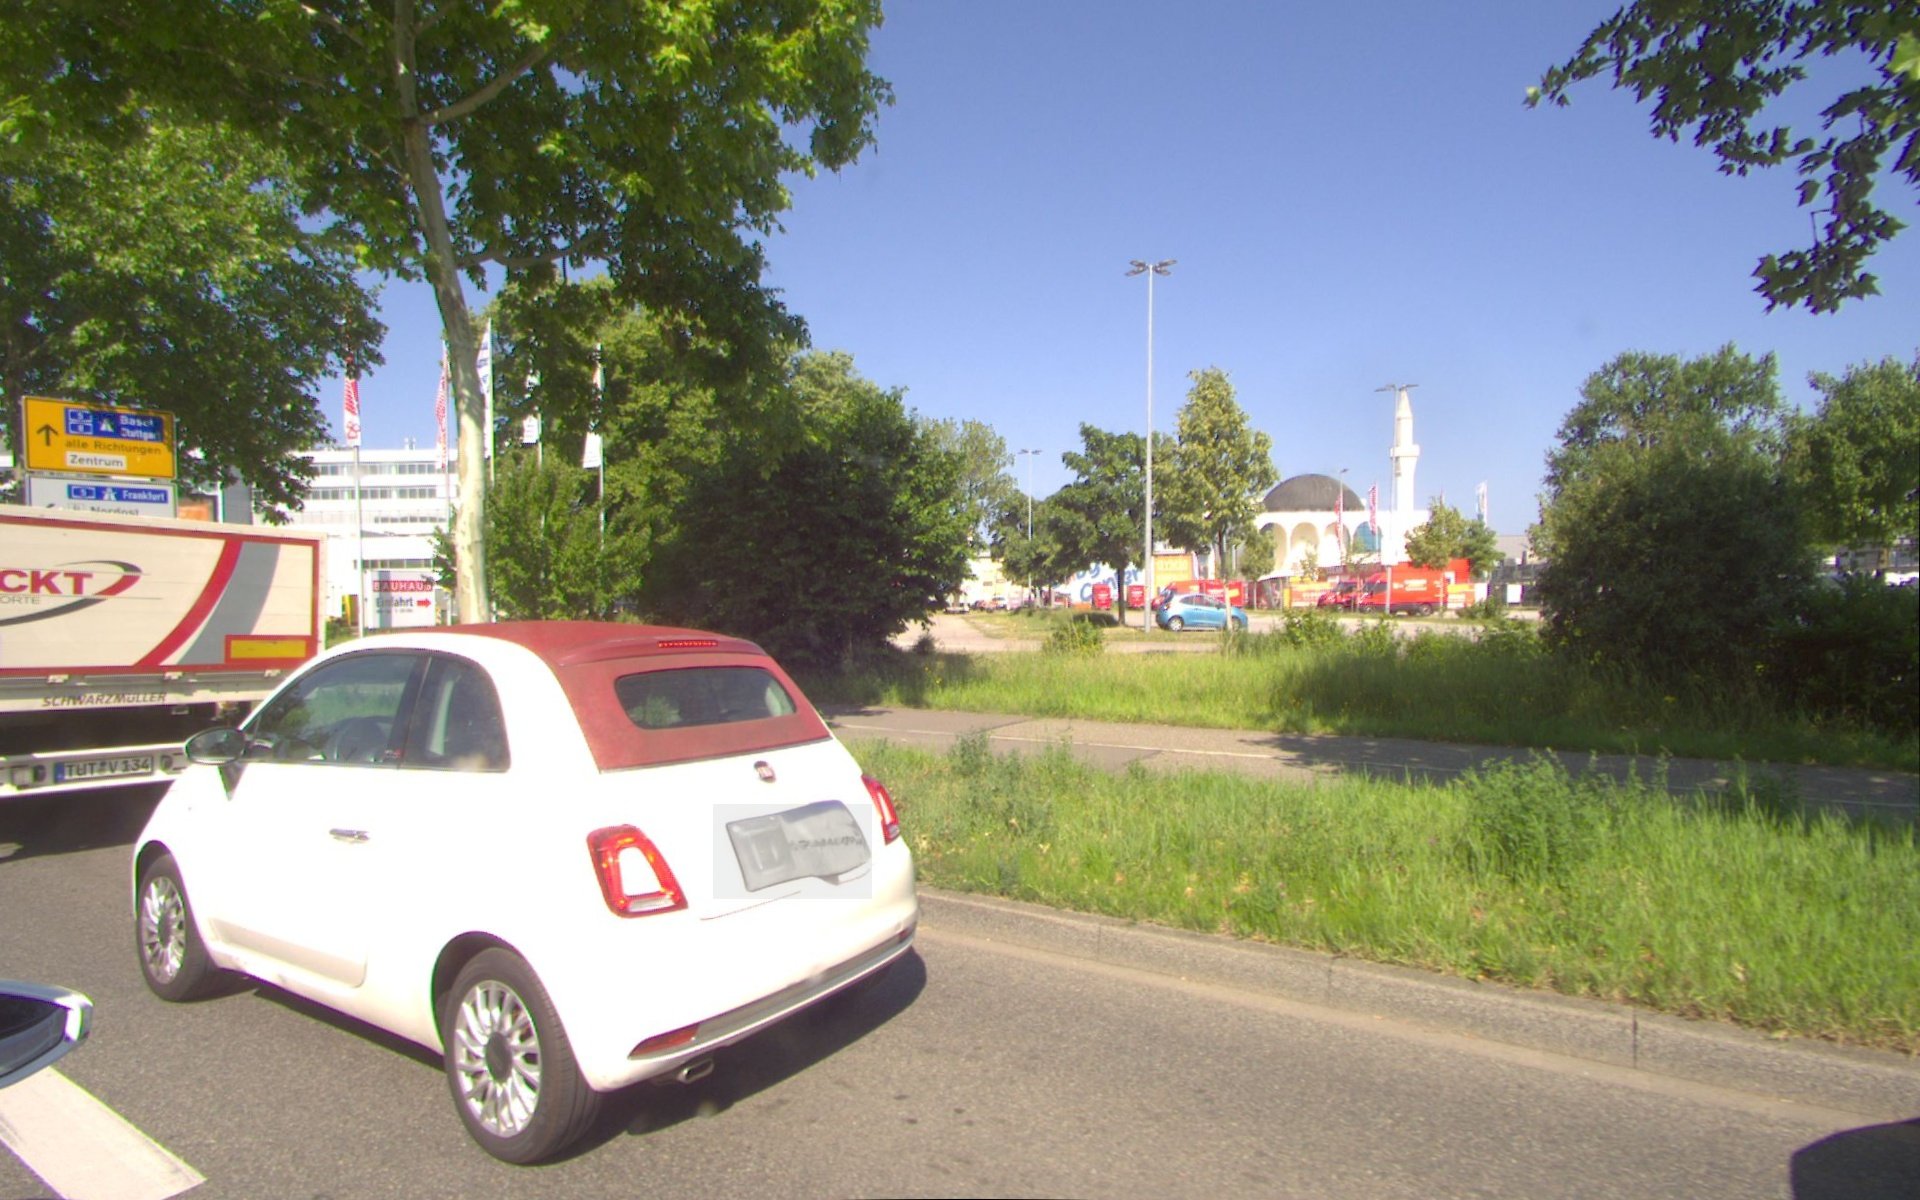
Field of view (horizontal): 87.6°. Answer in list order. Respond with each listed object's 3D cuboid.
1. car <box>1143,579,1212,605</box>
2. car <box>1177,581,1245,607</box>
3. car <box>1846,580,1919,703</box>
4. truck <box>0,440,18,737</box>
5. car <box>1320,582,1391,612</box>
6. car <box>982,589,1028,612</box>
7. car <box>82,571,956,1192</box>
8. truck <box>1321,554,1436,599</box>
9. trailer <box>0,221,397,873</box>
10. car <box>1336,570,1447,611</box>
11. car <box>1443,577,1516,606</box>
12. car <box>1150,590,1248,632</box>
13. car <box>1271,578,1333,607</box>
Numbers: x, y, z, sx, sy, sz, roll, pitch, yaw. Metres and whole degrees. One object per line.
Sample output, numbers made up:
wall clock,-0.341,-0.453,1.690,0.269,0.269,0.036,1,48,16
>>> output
car,18.004,-0.660,82.918,5.188,2.040,2.000,0,-1,-4
car,19.354,-0.482,77.269,4.824,1.906,1.770,0,-1,2
car,14.992,0.596,15.122,1.694,1.718,3.544,-1,-1,30
truck,-16.101,-0.107,13.622,7.369,3.806,3.066,-1,-1,32
car,25.358,-0.173,64.385,3.924,1.884,1.999,-1,-1,11
car,4.129,0.066,92.089,3.923,2.040,2.000,0,-1,-6
car,-1.904,0.708,4.029,3.472,1.455,1.657,-1,-1,34
truck,32.163,-1.800,77.020,8.067,3.290,2.000,0,-1,-2
trailer,-10.196,-0.185,9.805,12.069,3.789,3.010,-1,-1,33
car,26.213,-0.578,60.946,5.822,2.371,2.115,0,-1,1
car,37.781,-0.621,72.866,4.304,2.040,2.000,0,-1,-3
car,9.375,0.449,39.447,3.387,1.591,1.745,0,-1,-2
car,25.274,-0.560,74.189,3.922,2.040,2.000,0,-1,2
